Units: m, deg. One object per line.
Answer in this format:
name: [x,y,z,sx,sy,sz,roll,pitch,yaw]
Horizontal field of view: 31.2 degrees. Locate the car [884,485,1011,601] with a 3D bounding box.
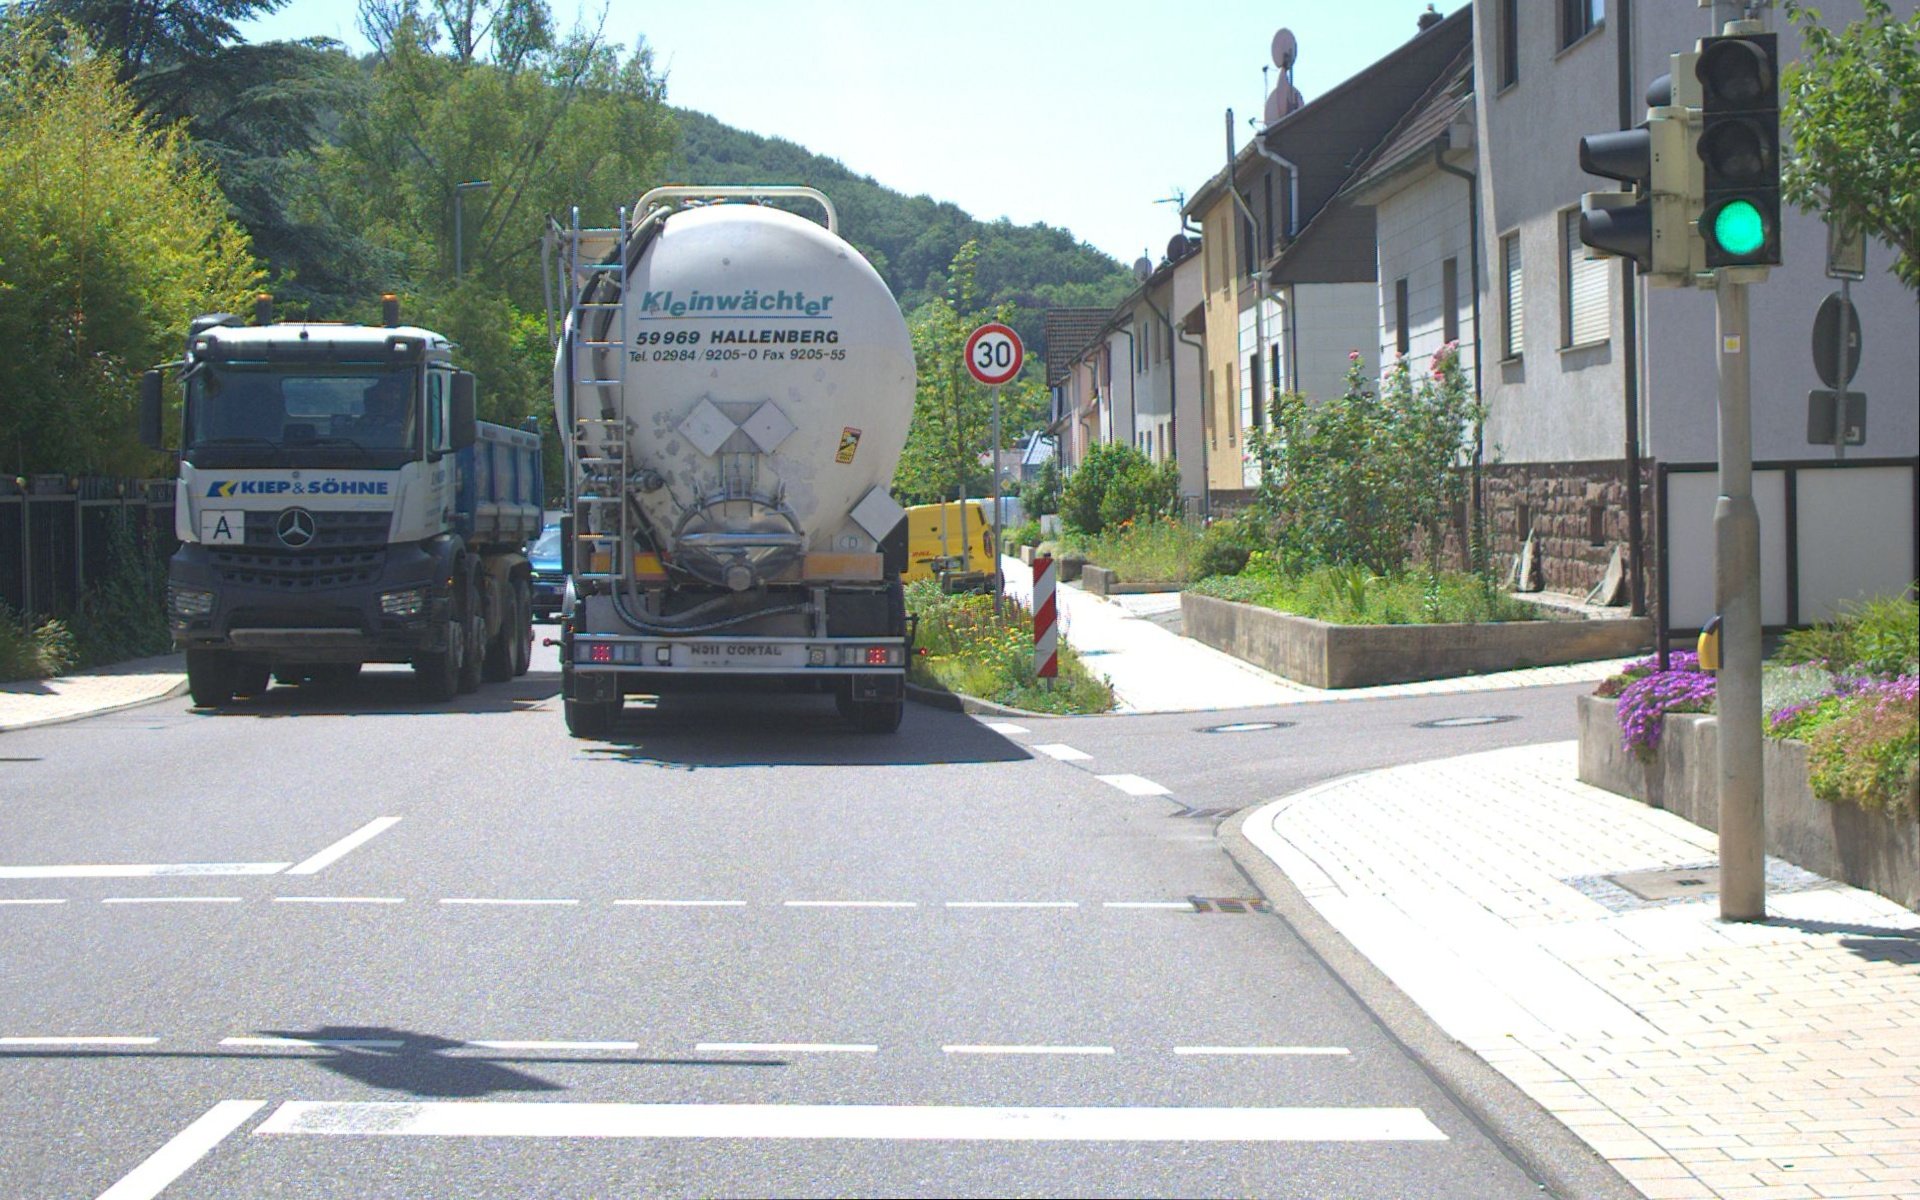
car: [-0.297,-1.111,67.678,2.189,2.007,5.623,-5,1,-2]

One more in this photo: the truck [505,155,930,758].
truck: [-1.675,-1.107,28.506,2.750,4.043,10.890,0,2,0]

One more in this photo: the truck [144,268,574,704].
truck: [-5.685,-1.088,34.087,2.542,3.725,8.622,-1,1,1]

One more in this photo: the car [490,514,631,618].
car: [-6.636,-0.571,57.506,1.888,1.639,4.614,1,1,-1]
